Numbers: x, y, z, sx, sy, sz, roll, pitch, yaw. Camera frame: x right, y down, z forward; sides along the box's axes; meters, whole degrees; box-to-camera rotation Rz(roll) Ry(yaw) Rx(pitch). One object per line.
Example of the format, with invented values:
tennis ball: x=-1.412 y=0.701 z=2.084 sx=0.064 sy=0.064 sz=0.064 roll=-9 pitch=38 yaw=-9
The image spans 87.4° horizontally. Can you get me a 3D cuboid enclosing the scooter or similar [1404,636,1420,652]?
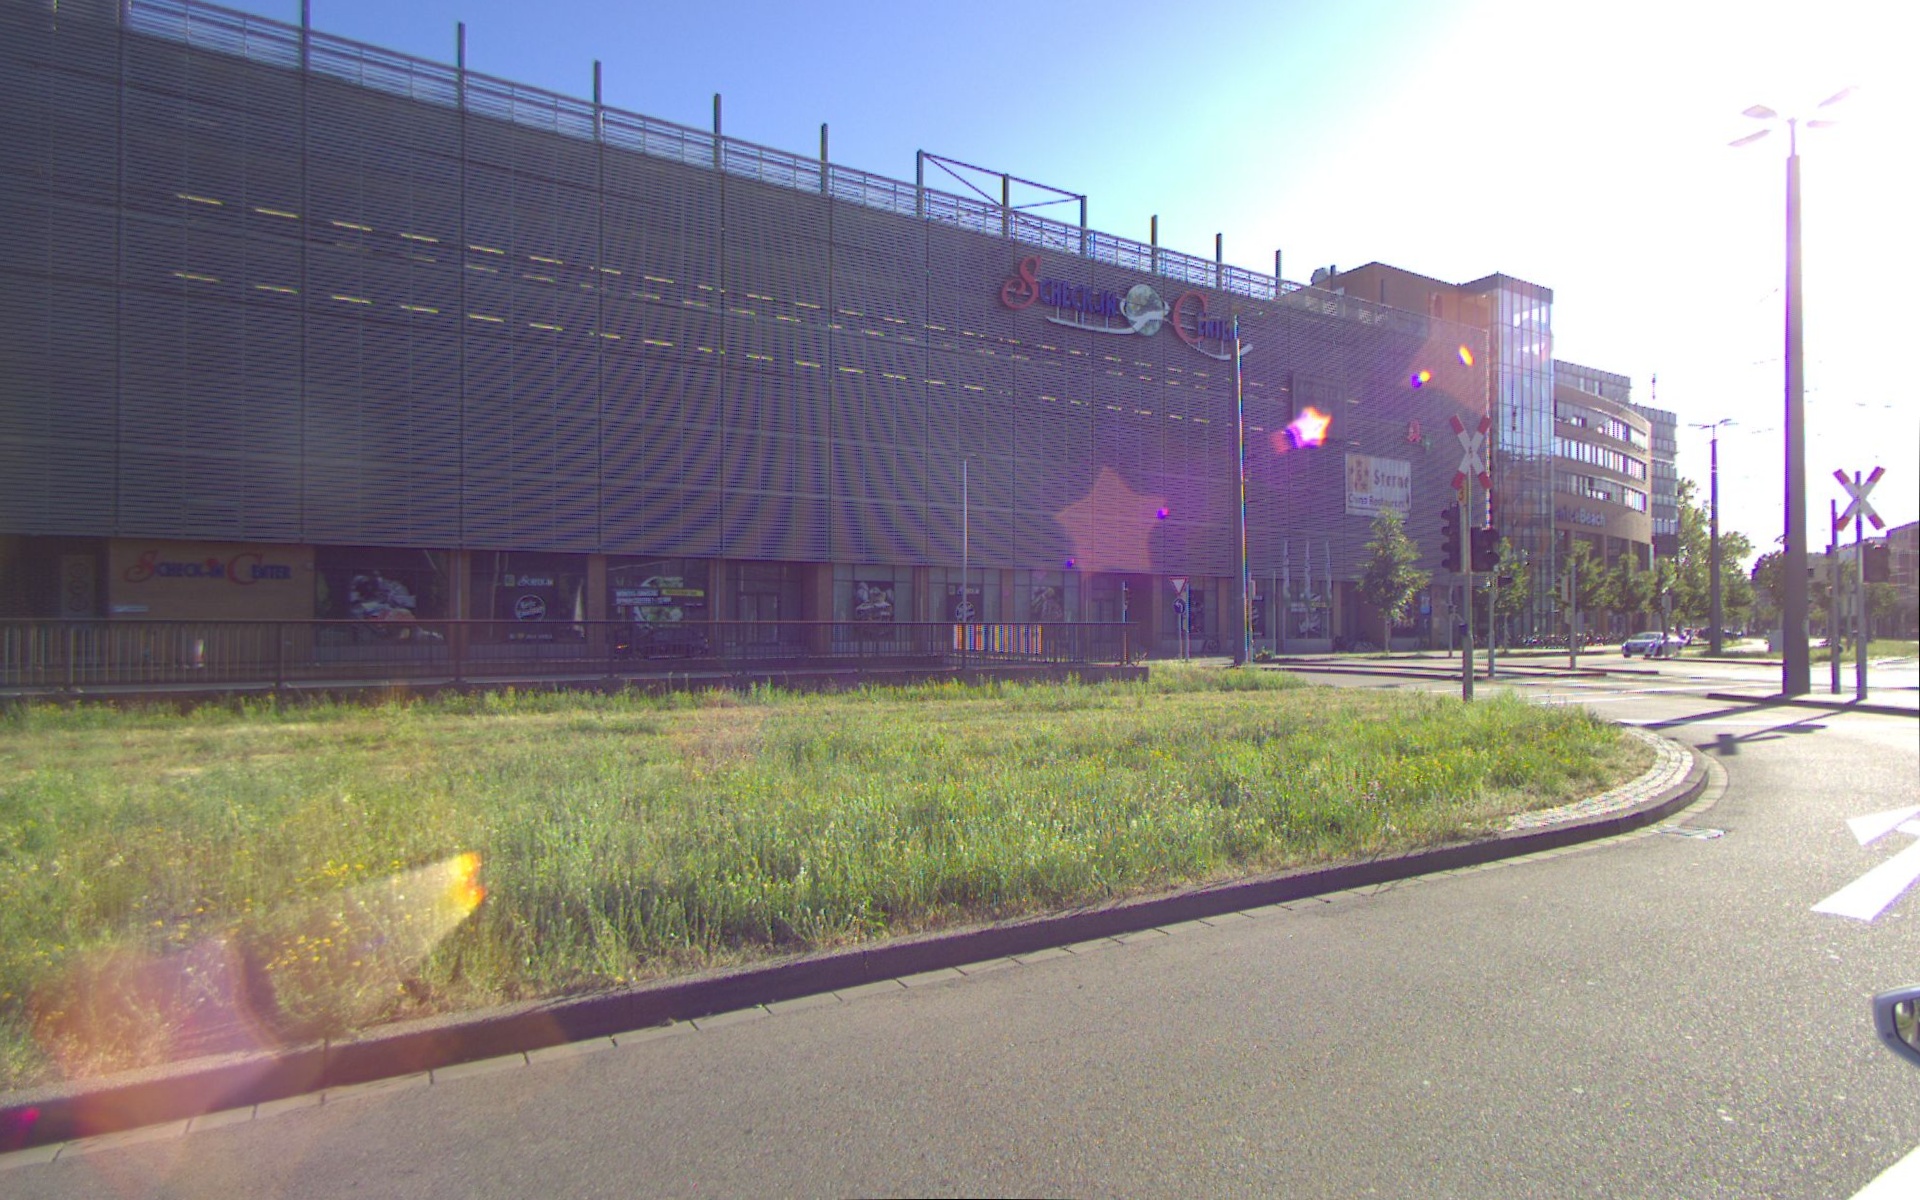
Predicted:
scooter or similar: x=31.594 y=3.067 z=70.172 sx=1.138 sy=1.124 sz=0.419 roll=2 pitch=-3 yaw=-30

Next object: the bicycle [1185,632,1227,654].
bicycle: x=14.159 y=2.464 z=57.767 sx=2.384 sy=1.237 sz=0.797 roll=1 pitch=-1 yaw=-27

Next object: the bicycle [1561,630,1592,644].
bicycle: x=55.588 y=3.366 z=90.542 sx=0.734 sy=1.252 sz=2.410 roll=1 pitch=-2 yaw=-21

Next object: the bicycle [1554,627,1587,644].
bicycle: x=54.454 y=3.182 z=89.684 sx=0.760 sy=1.452 sz=2.603 roll=1 pitch=-2 yaw=-21

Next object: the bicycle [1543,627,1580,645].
bicycle: x=48.993 y=2.953 z=81.830 sx=0.891 sy=1.452 sz=2.558 roll=1 pitch=-2 yaw=-21

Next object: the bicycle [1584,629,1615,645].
bicycle: x=58.978 y=3.443 z=92.705 sx=0.777 sy=1.452 sz=2.417 roll=1 pitch=-2 yaw=-21

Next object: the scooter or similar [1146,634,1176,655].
scooter or similar: x=11.680 y=2.591 z=58.427 sx=1.555 sy=1.222 sz=0.790 roll=2 pitch=-3 yaw=-30

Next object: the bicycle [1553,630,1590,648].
bicycle: x=50.706 y=3.270 z=83.313 sx=0.891 sy=1.452 sz=2.558 roll=1 pitch=-2 yaw=-21

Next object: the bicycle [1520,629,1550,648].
bicycle: x=45.766 y=3.045 z=79.937 sx=0.795 sy=1.452 sz=1.975 roll=1 pitch=-2 yaw=-21

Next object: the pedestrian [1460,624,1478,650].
pedestrian: x=36.931 y=2.668 z=72.838 sx=0.894 sy=1.848 sz=0.823 roll=2 pitch=-3 yaw=-29

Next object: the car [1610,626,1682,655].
car: x=38.931 y=2.257 z=56.987 sx=4.485 sy=1.566 sz=1.980 roll=1 pitch=-1 yaw=-36

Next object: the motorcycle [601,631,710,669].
motorcycle: x=-12.470 y=2.010 z=41.144 sx=3.953 sy=1.472 sz=1.984 roll=1 pitch=-1 yaw=-30

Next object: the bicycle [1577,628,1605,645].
bicycle: x=57.918 y=3.356 z=92.227 sx=0.747 sy=1.452 sz=2.135 roll=1 pitch=-2 yaw=-21

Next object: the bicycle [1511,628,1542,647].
bicycle: x=44.803 y=2.982 z=79.416 sx=0.848 sy=1.452 sz=2.080 roll=1 pitch=-2 yaw=-21

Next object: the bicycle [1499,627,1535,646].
bicycle: x=43.811 y=2.863 z=79.022 sx=1.060 sy=1.452 sz=2.366 roll=1 pitch=-2 yaw=-21

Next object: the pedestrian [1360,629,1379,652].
pedestrian: x=28.413 y=2.839 z=69.696 sx=0.819 sy=1.586 sz=0.983 roll=2 pitch=-3 yaw=-30

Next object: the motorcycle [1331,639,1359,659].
motorcycle: x=24.683 y=3.141 z=64.399 sx=1.872 sy=1.255 sz=0.672 roll=2 pitch=-3 yaw=-31
